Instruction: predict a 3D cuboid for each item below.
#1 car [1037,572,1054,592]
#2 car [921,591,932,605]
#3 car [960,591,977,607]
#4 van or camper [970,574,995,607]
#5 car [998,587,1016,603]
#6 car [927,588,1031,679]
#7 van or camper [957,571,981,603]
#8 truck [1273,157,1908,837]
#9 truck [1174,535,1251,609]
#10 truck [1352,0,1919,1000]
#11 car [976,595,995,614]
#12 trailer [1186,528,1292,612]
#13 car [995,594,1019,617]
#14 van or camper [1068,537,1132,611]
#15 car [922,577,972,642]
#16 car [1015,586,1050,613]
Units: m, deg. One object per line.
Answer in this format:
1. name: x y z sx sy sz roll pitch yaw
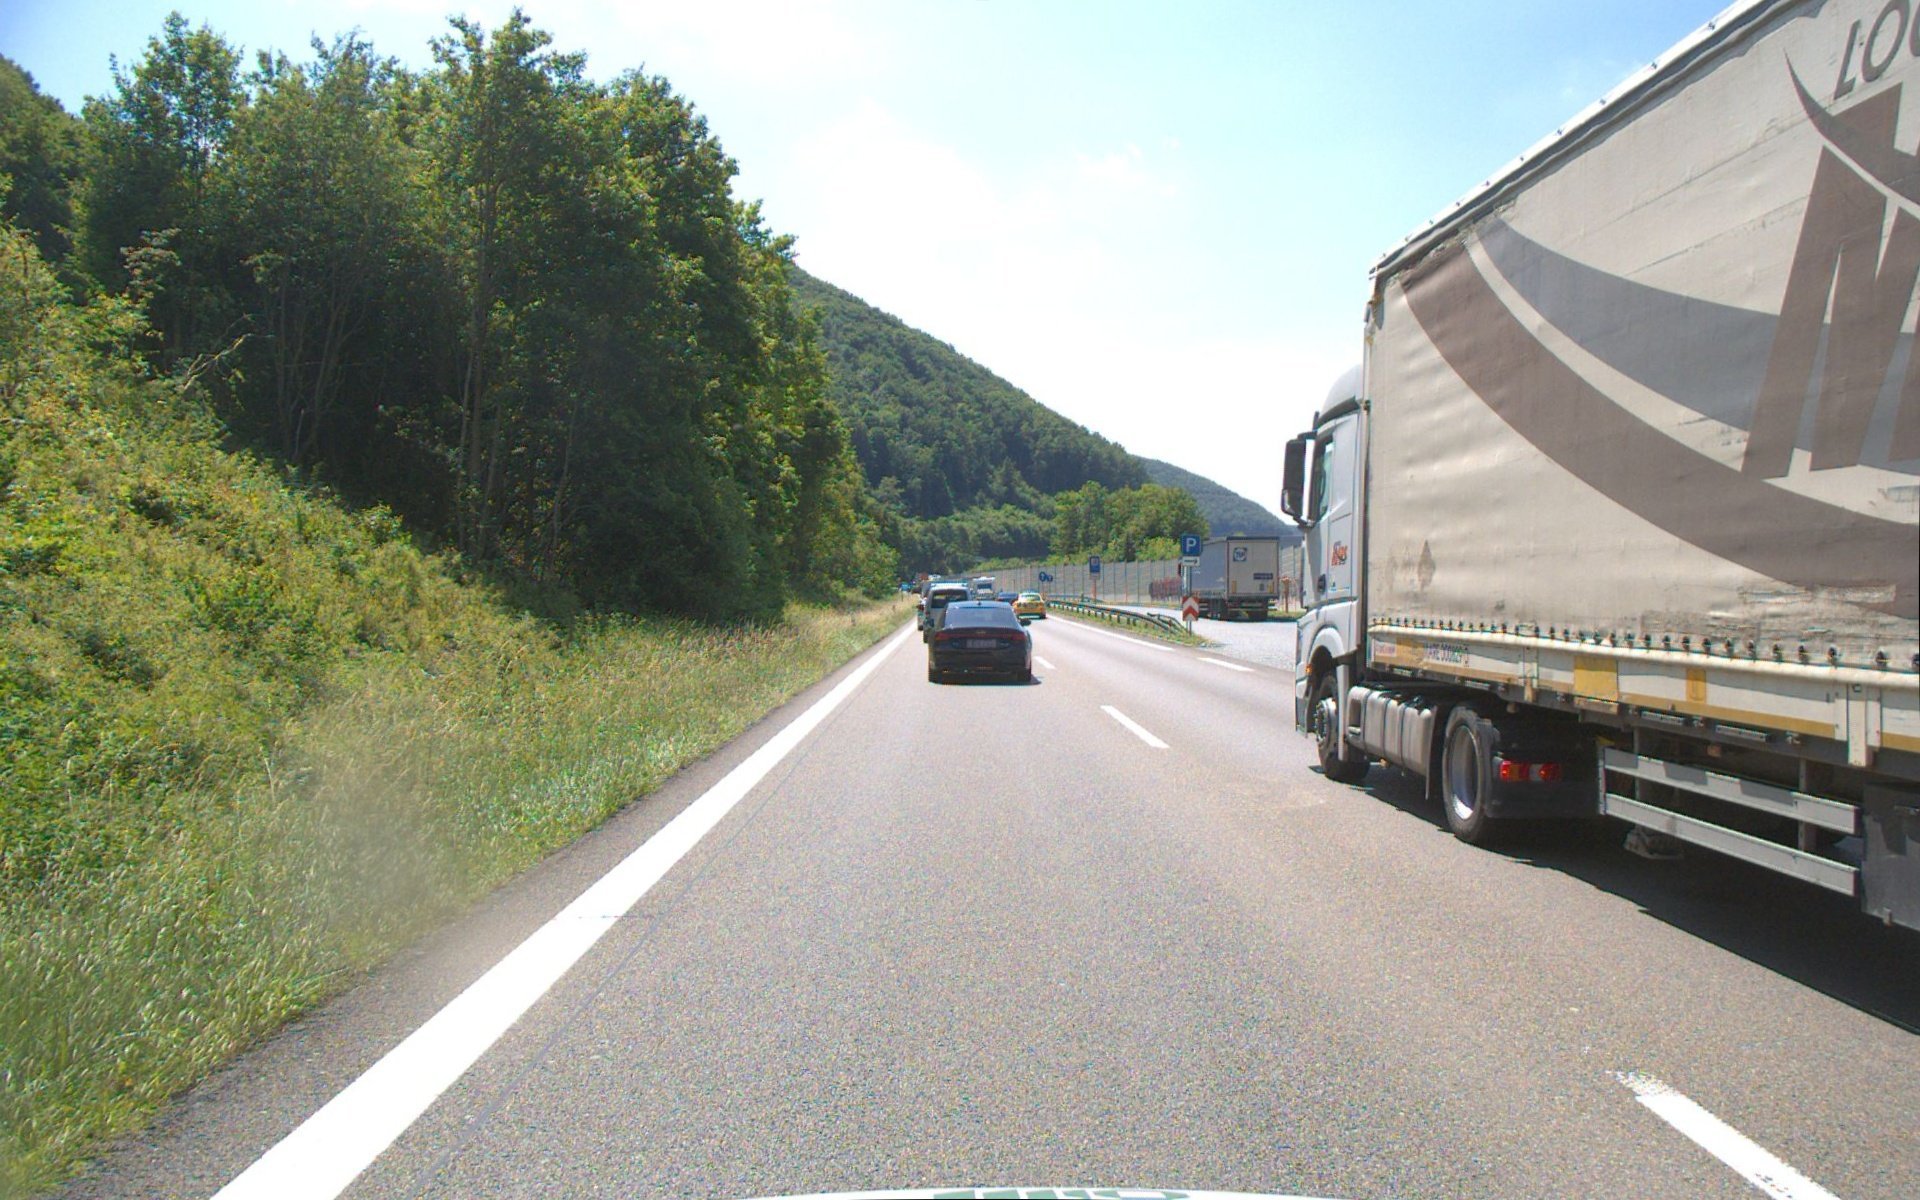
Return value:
1. car: 8.971 -1.856 173.148 1.544 2.049 3.428 0 0 0
2. car: -5.081 -0.264 249.567 1.653 2.049 3.999 1 0 -1
3. car: 1.043 -0.059 199.801 1.953 1.825 3.999 2 -1 -1
4. van or camper: 2.331 -0.984 172.470 2.380 3.210 5.202 2 -1 0
5. car: 6.019 -0.660 211.648 1.953 2.049 3.999 1 0 -2
6. car: 0.300 0.563 30.181 1.775 1.541 3.514 0 1 -1
7. van or camper: 1.182 -1.699 218.604 2.739 3.975 6.164 2 -1 -2
8. truck: 4.455 -0.611 13.091 2.664 4.139 5.752 1 -1 -1
9. truck: 13.933 -1.514 91.556 3.342 3.968 5.386 1 0 -1
10. truck: 4.630 -0.674 6.215 2.671 4.139 13.736 1 -1 -1
11. car: 2.172 0.362 140.274 1.499 1.552 3.596 2 -1 0
12. trailer: 14.055 -1.472 84.352 3.342 3.968 11.149 1 0 -1
13. car: 3.373 0.405 118.696 1.499 1.552 3.596 2 -1 0
14. van or camper: 7.836 -1.396 93.439 2.739 3.908 6.164 2 -1 -2
15. car: -0.447 0.296 54.474 1.490 2.002 3.513 3 0 -1
16. car: 4.196 -0.040 96.088 1.840 1.525 4.000 1 0 0
